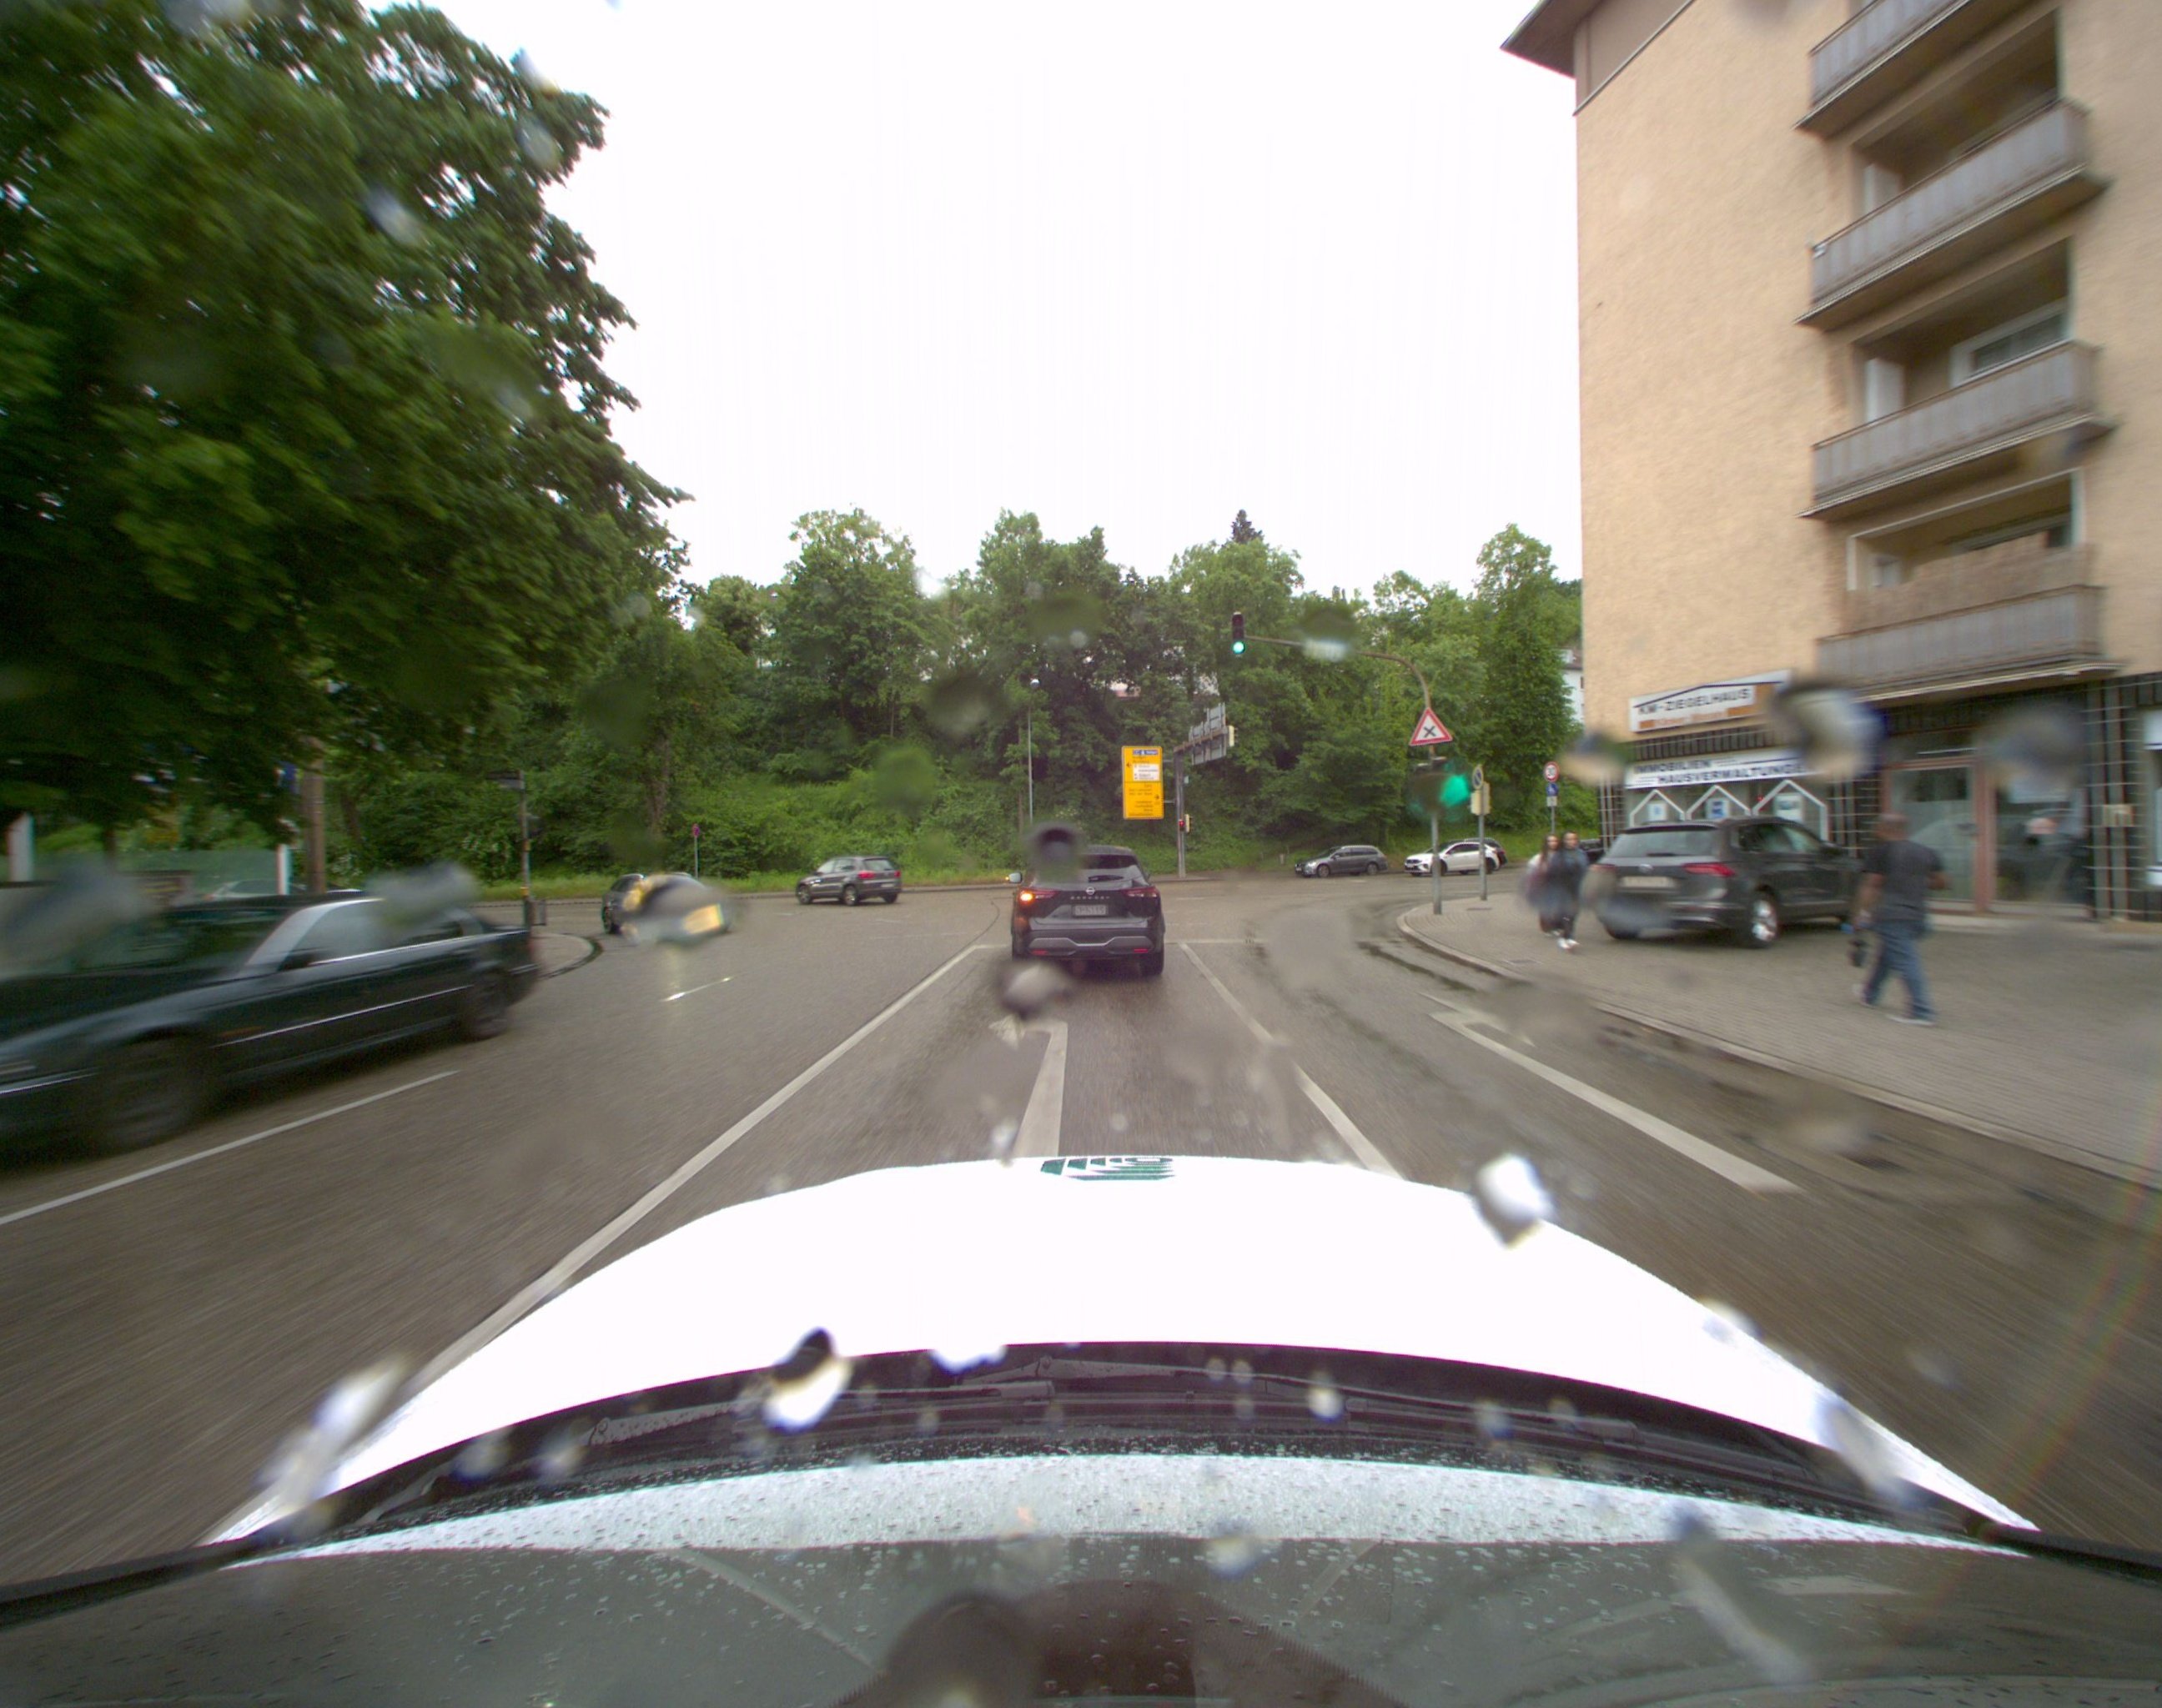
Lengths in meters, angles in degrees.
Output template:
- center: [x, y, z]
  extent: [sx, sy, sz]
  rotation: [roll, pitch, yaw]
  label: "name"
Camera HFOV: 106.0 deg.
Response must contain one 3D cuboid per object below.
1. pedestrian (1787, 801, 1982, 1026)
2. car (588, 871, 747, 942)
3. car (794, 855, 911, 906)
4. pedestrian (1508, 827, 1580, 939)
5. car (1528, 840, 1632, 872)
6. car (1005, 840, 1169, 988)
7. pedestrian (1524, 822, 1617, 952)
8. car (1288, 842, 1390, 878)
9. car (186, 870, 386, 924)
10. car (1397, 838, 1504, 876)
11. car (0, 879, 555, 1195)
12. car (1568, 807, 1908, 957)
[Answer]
- center: [6.475, 0.448, 6.608]
  extent: [0.758, 1.677, 0.781]
  rotation: [-3, 1, 1]
  label: "pedestrian"
- center: [-9.960, 1.180, 19.487]
  extent: [4.152, 1.450, 1.828]
  rotation: [-2, 0, 39]
  label: "car"
- center: [-7.899, 0.884, 28.021]
  extent: [3.948, 1.603, 1.828]
  rotation: [-1, 0, 37]
  label: "car"
- center: [6.792, 0.412, 11.984]
  extent: [0.754, 1.575, 0.785]
  rotation: [-3, 1, 21]
  label: "pedestrian"
- center: [23.456, 0.077, 38.327]
  extent: [4.147, 1.370, 1.801]
  rotation: [-1, 0, -14]
  label: "car"
- center: [0.008, 0.661, 11.081]
  extent: [1.806, 1.603, 3.997]
  rotation: [-1, 0, -2]
  label: "car"
- center: [6.398, 0.416, 10.681]
  extent: [0.655, 1.600, 0.795]
  rotation: [-3, 0, -2]
  label: "pedestrian"
- center: [12.490, 0.265, 39.511]
  extent: [4.326, 1.502, 1.877]
  rotation: [-3, 0, -11]
  label: "car"
- center: [-26.523, 1.413, 27.289]
  extent: [4.603, 1.440, 1.935]
  rotation: [-2, 2, -2]
  label: "car"
- center: [16.623, 0.145, 36.695]
  extent: [4.147, 1.561, 1.801]
  rotation: [-1, 0, -14]
  label: "car"
- center: [-6.288, 1.009, 6.209]
  extent: [1.724, 1.459, 4.425]
  rotation: [-2, 0, -2]
  label: "car"
- center: [9.044, 0.283, 11.191]
  extent: [4.388, 1.649, 1.868]
  rotation: [-3, 0, -25]
  label: "car"
